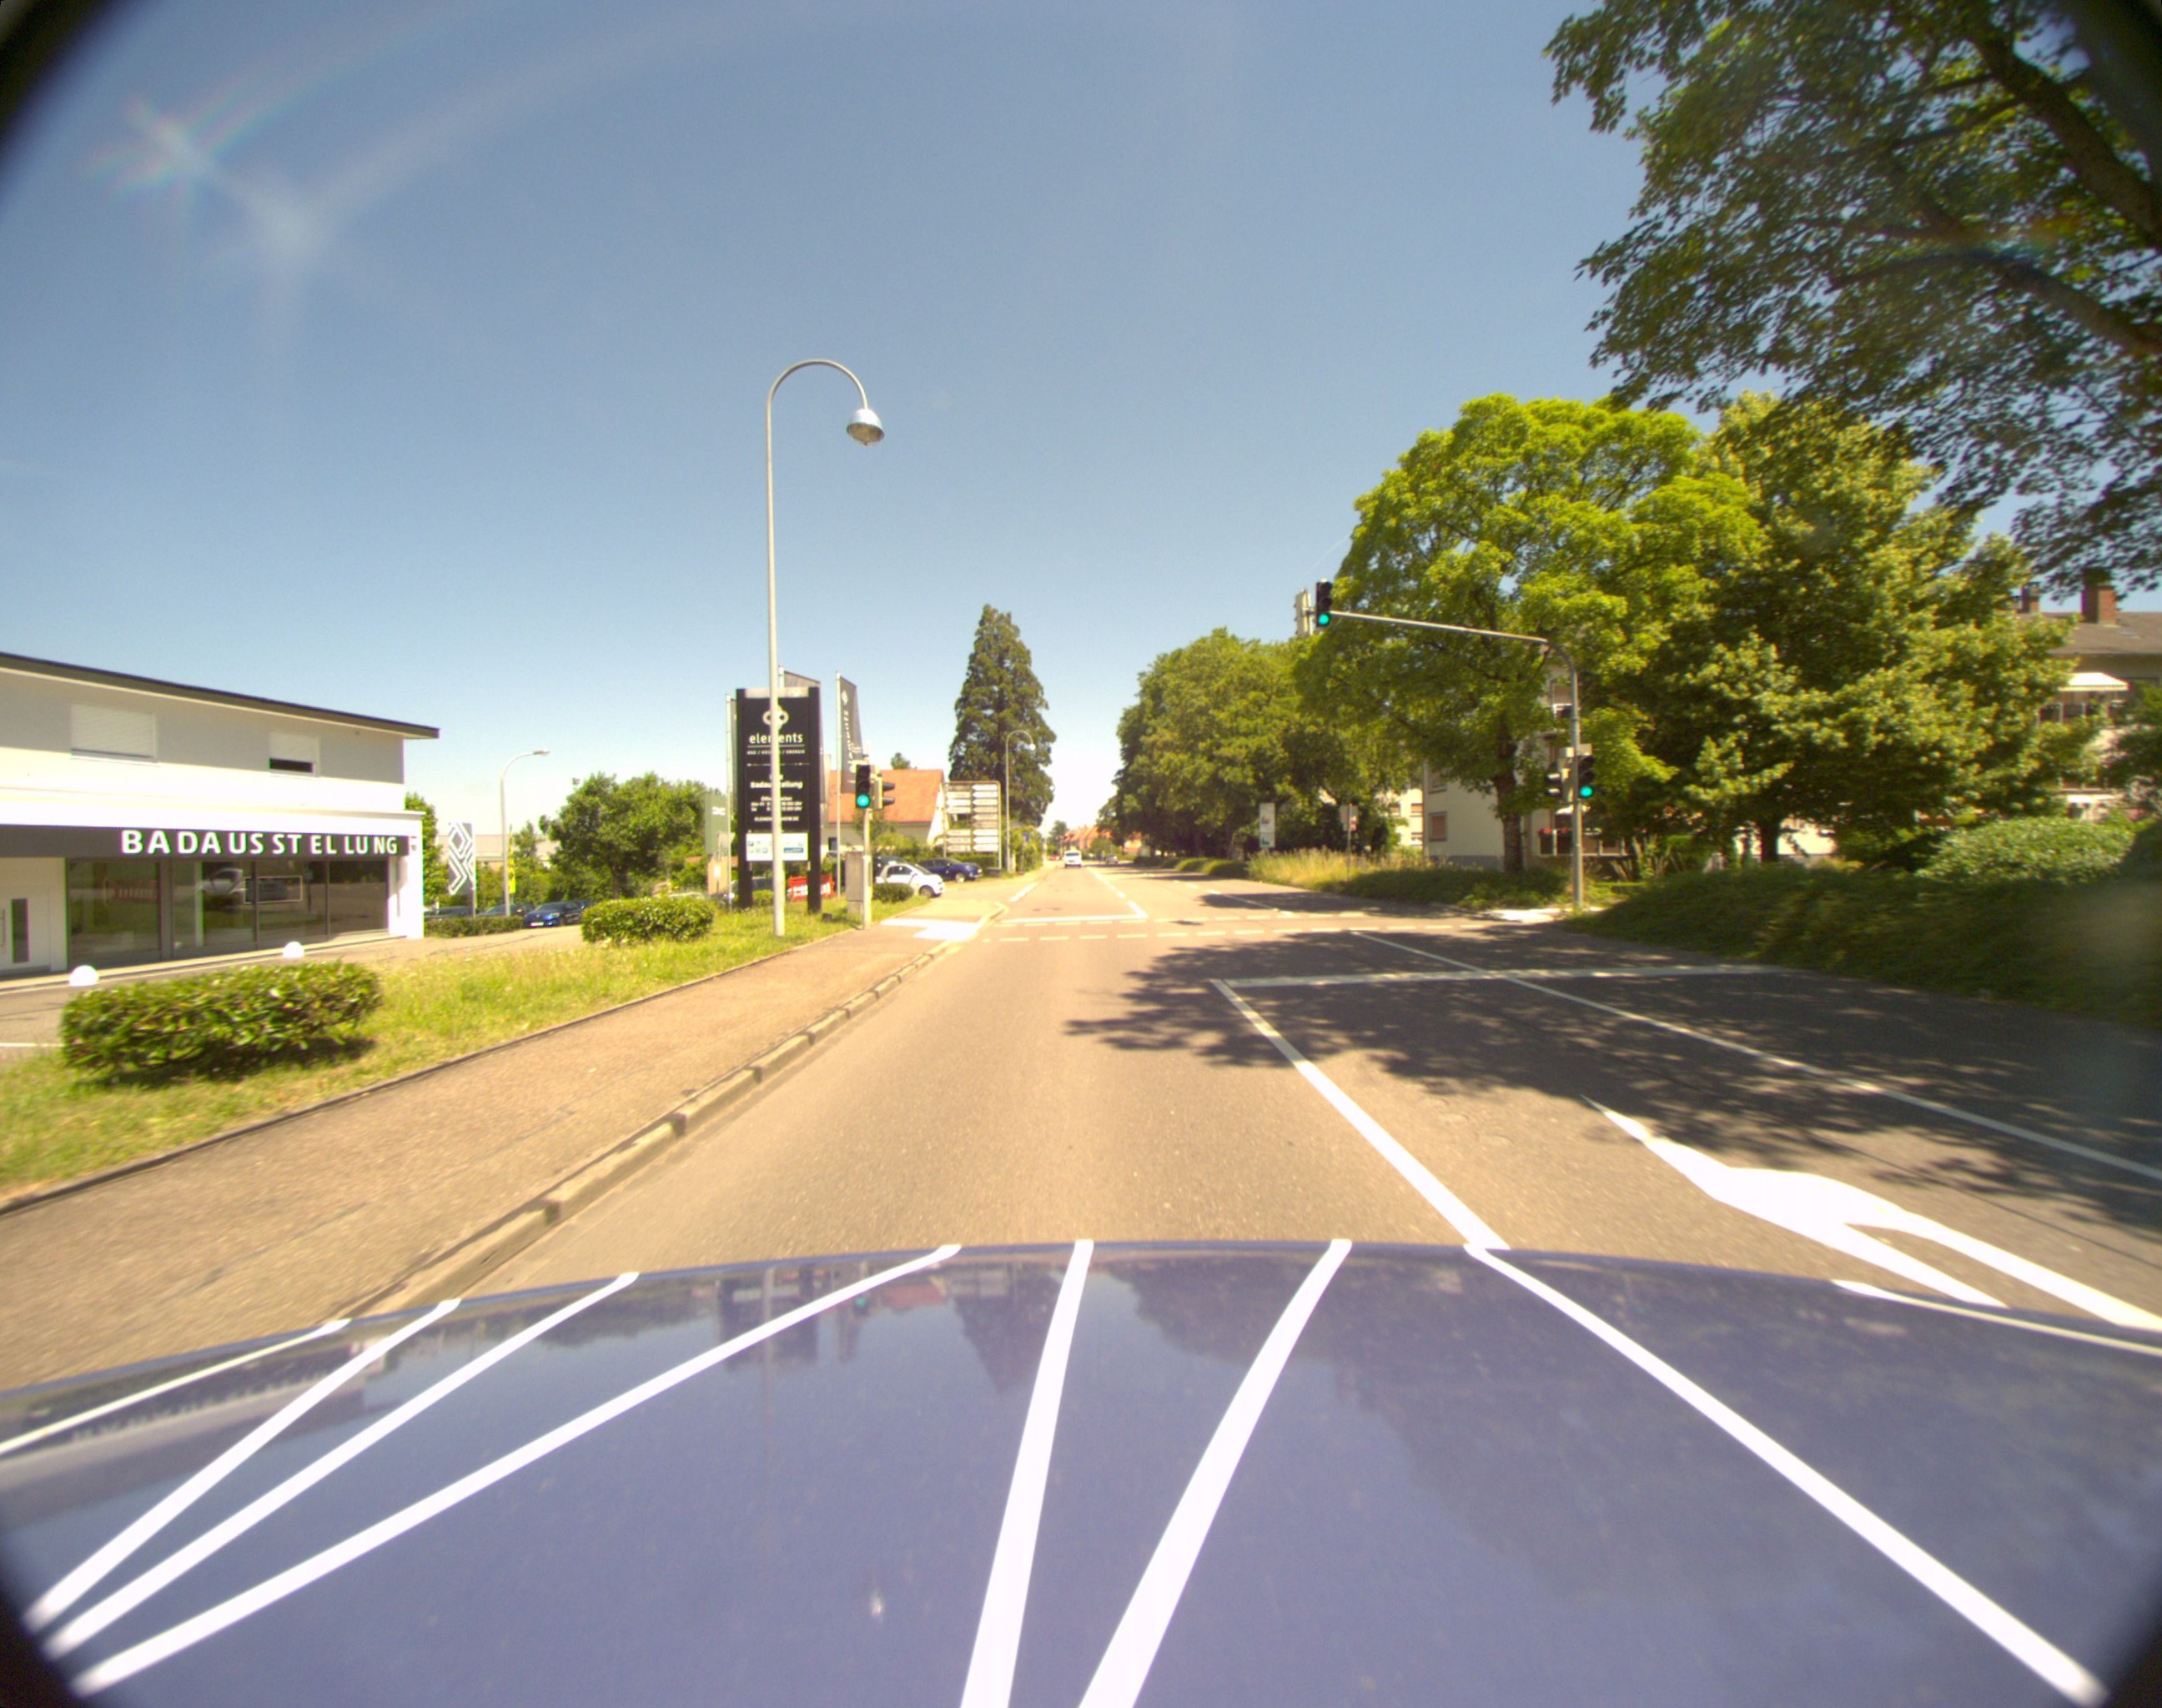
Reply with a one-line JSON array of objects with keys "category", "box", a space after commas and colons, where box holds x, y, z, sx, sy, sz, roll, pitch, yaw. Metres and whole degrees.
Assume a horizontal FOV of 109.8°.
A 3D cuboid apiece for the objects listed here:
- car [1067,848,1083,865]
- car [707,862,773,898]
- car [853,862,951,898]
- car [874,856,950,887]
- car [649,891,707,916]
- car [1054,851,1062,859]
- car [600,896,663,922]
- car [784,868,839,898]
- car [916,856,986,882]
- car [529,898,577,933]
[{"category": "car", "box": [-0.648, 0.248, 87.826, 1.796, 1.904, 3.640, -1, 1, 0]}, {"category": "car", "box": [-17.930, 1.338, 40.124, 1.698, 1.635, 3.699, -2, 1, 1]}, {"category": "car", "box": [-7.388, 1.070, 31.570, 3.637, 1.375, 1.627, -1, 1, 3]}, {"category": "car", "box": [-8.963, 0.906, 40.528, 3.637, 1.542, 1.627, -1, 1, 3]}, {"category": "car", "box": [-26.552, 3.235, 50.198, 1.835, 1.426, 3.699, -1, 0, 1]}, {"category": "car", "box": [-5.957, 0.226, 199.703, 1.862, 2.002, 4.001, -1, 0, 3]}, {"category": "car", "box": [-29.211, 3.540, 49.521, 1.776, 1.426, 3.700, -1, 0, 3]}, {"category": "car", "box": [-16.816, 1.791, 47.574, 1.697, 1.635, 3.700, -2, 1, 6]}, {"category": "car", "box": [-7.316, 0.851, 42.962, 3.637, 1.375, 1.627, -1, 1, 3]}, {"category": "car", "box": [-28.245, 3.256, 40.721, 1.870, 1.499, 3.990, -3, 1, -33]}]
